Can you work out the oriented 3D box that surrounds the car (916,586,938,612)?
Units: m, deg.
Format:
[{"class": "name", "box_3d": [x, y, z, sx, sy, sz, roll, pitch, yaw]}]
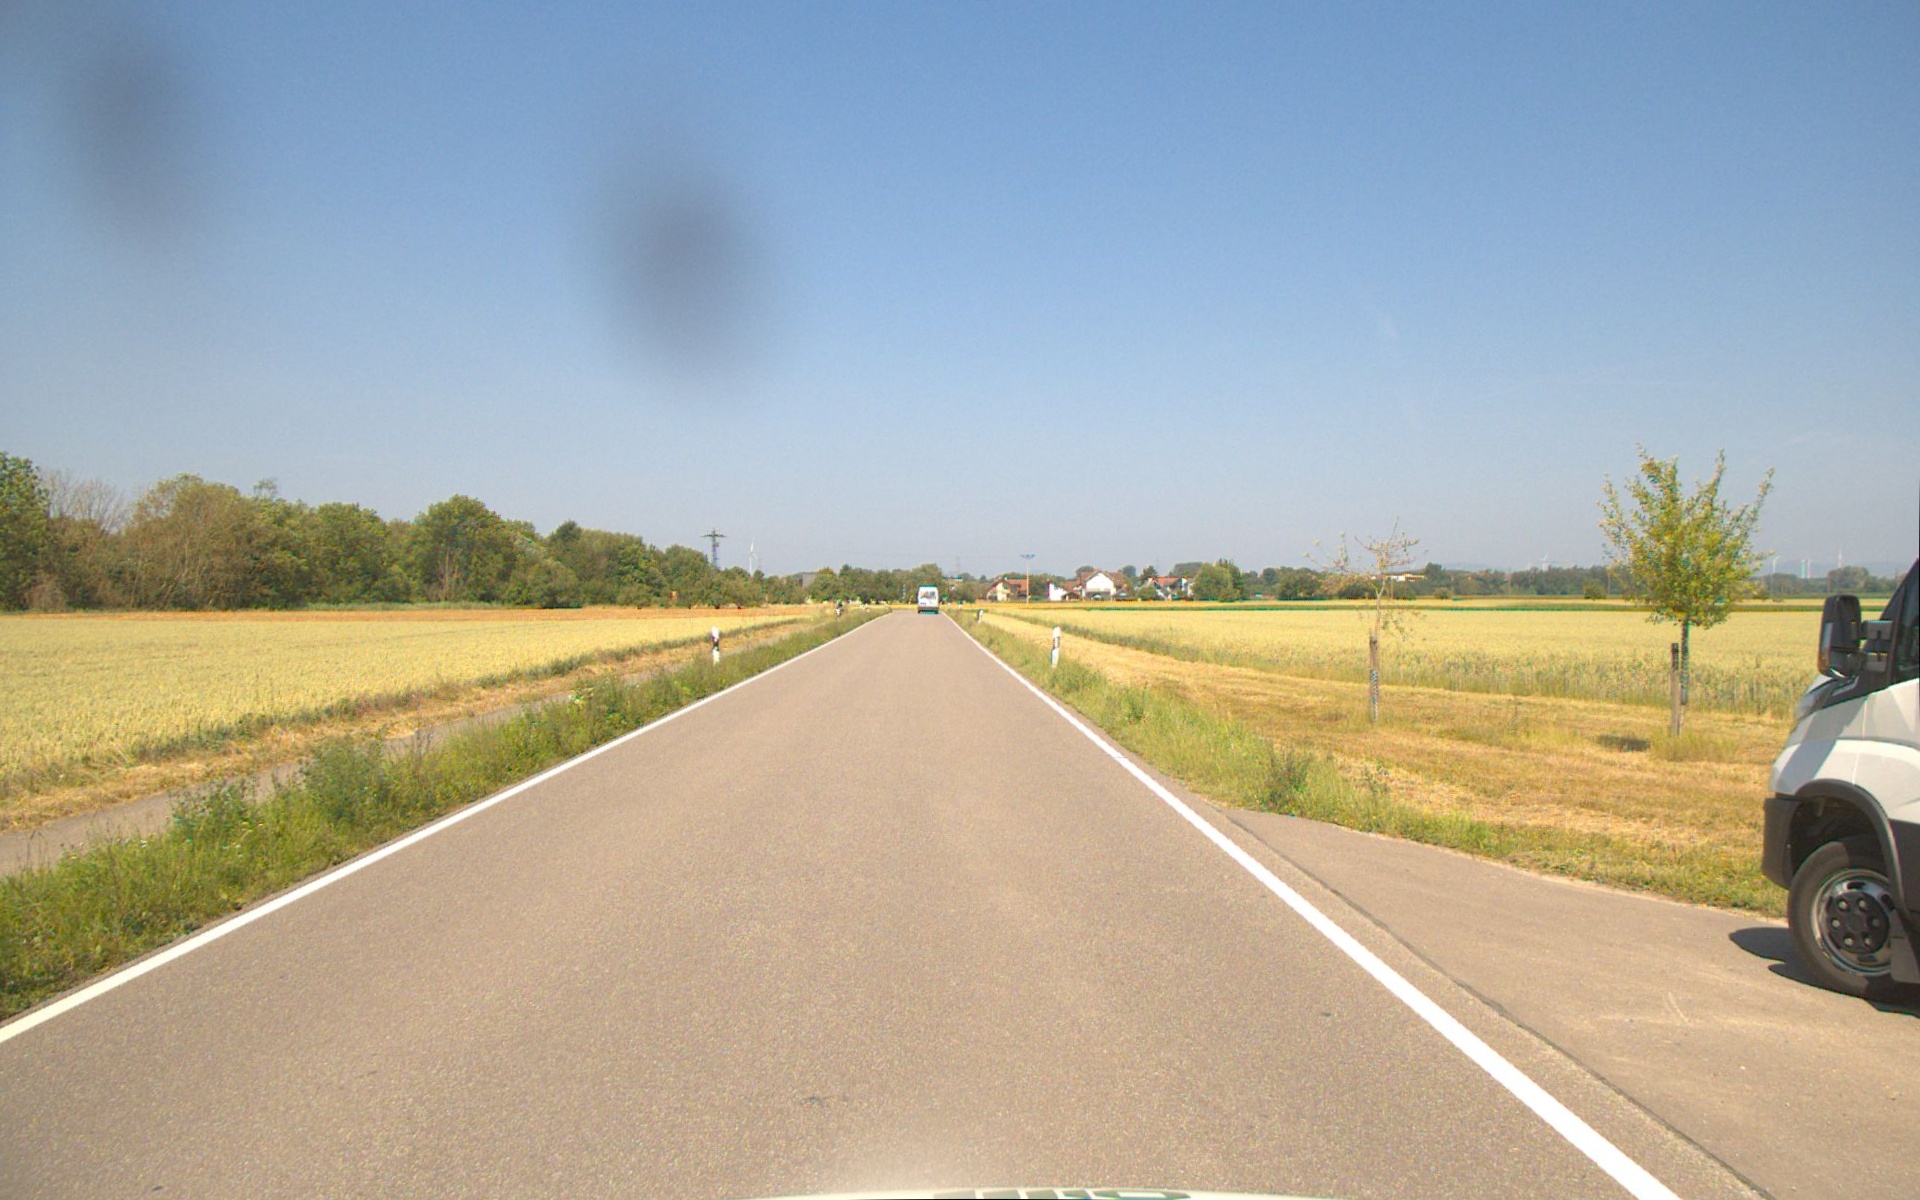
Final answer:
[{"class": "car", "box_3d": [-3.219, -0.085, 159.741, 2.065, 2.344, 5.494, 2, 0, -2]}]

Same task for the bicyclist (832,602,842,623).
[{"class": "bicyclist", "box_3d": [-10.125, 1.014, 136.363, 0.744, 1.702, 1.088, -1, 0, -1]}]

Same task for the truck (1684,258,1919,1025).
[{"class": "truck", "box_3d": [4.987, 0.195, 4.761, 2.289, 2.993, 7.004, 3, 0, -3]}]

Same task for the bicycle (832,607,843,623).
[{"class": "bicycle", "box_3d": [-10.131, 1.237, 136.372, 0.744, 1.257, 2.393, -2, 0, -1]}]
